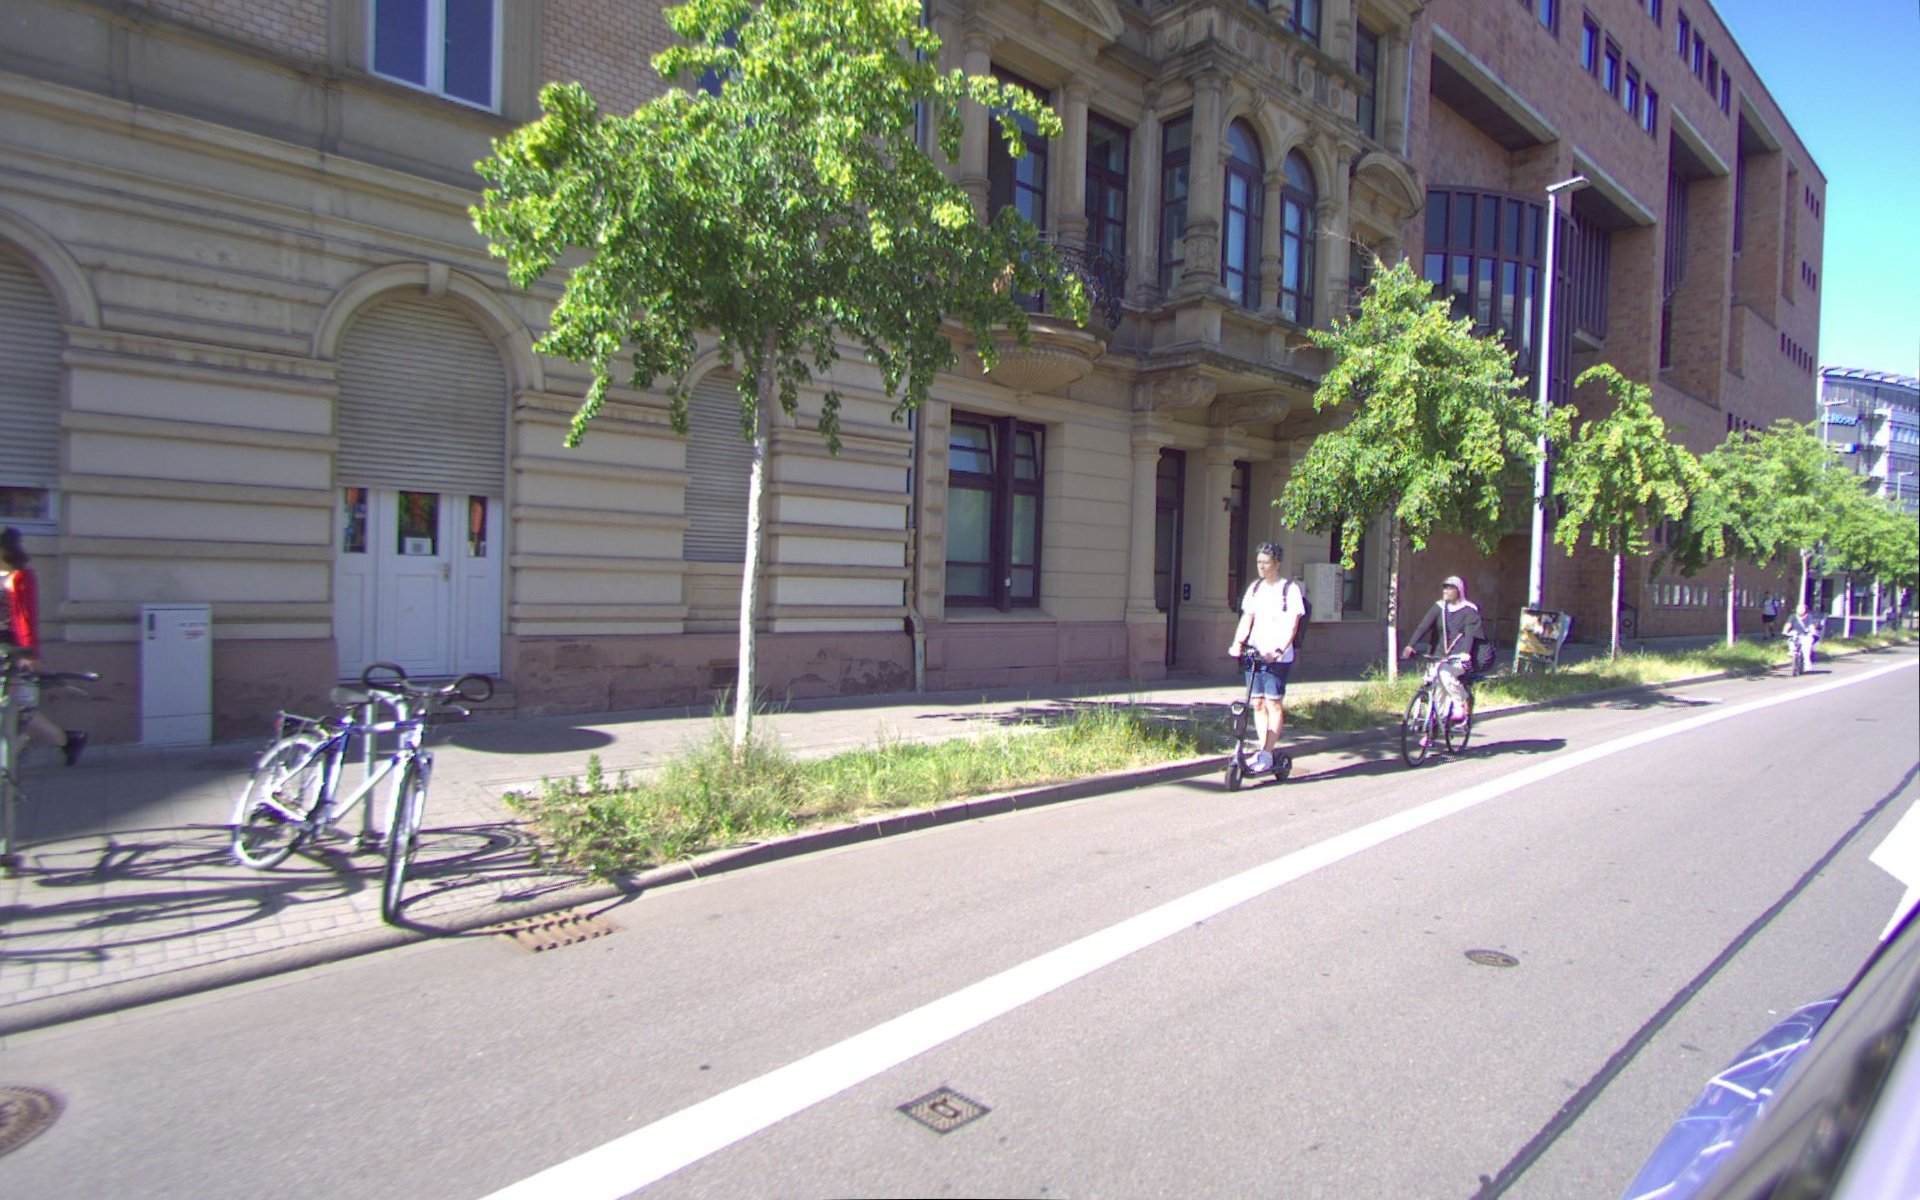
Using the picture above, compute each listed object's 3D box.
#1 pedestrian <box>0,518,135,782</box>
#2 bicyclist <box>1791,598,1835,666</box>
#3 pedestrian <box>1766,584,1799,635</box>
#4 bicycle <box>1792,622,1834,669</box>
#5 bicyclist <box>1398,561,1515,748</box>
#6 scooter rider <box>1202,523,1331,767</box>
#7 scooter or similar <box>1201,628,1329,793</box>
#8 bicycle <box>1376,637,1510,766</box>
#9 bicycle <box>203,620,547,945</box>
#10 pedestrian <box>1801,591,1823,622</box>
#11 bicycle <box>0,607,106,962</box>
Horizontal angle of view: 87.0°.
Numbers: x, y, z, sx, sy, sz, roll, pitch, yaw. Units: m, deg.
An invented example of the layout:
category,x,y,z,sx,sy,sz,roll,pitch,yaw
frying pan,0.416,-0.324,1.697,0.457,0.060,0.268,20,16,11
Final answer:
category,x,y,z,sx,sy,sz,roll,pitch,yaw
pedestrian,-5.770,0.282,6.333,0.911,1.561,0.710,0,2,-41
bicyclist,19.945,0.725,23.658,0.893,1.557,0.658,1,-1,-42
pedestrian,31.958,0.352,39.328,1.087,1.906,0.789,0,2,-41
bicycle,19.918,1.050,23.629,1.481,1.040,0.558,0,0,-42
bicyclist,4.892,0.509,9.967,0.853,1.733,0.780,1,-1,-42
scooter rider,2.537,0.347,8.369,0.885,1.884,0.667,1,-1,-42
scooter or similar,2.542,0.866,8.382,1.150,1.242,0.491,1,-1,-42
bicycle,4.757,0.945,9.918,1.761,1.106,0.558,0,0,-42
bicycle,-2.958,0.752,5.013,1.993,1.105,0.835,6,4,40
pedestrian,46.761,0.367,55.556,0.960,1.639,0.789,0,2,-44
bicycle,-4.223,0.687,4.423,0.697,1.141,2.001,1,4,-39
